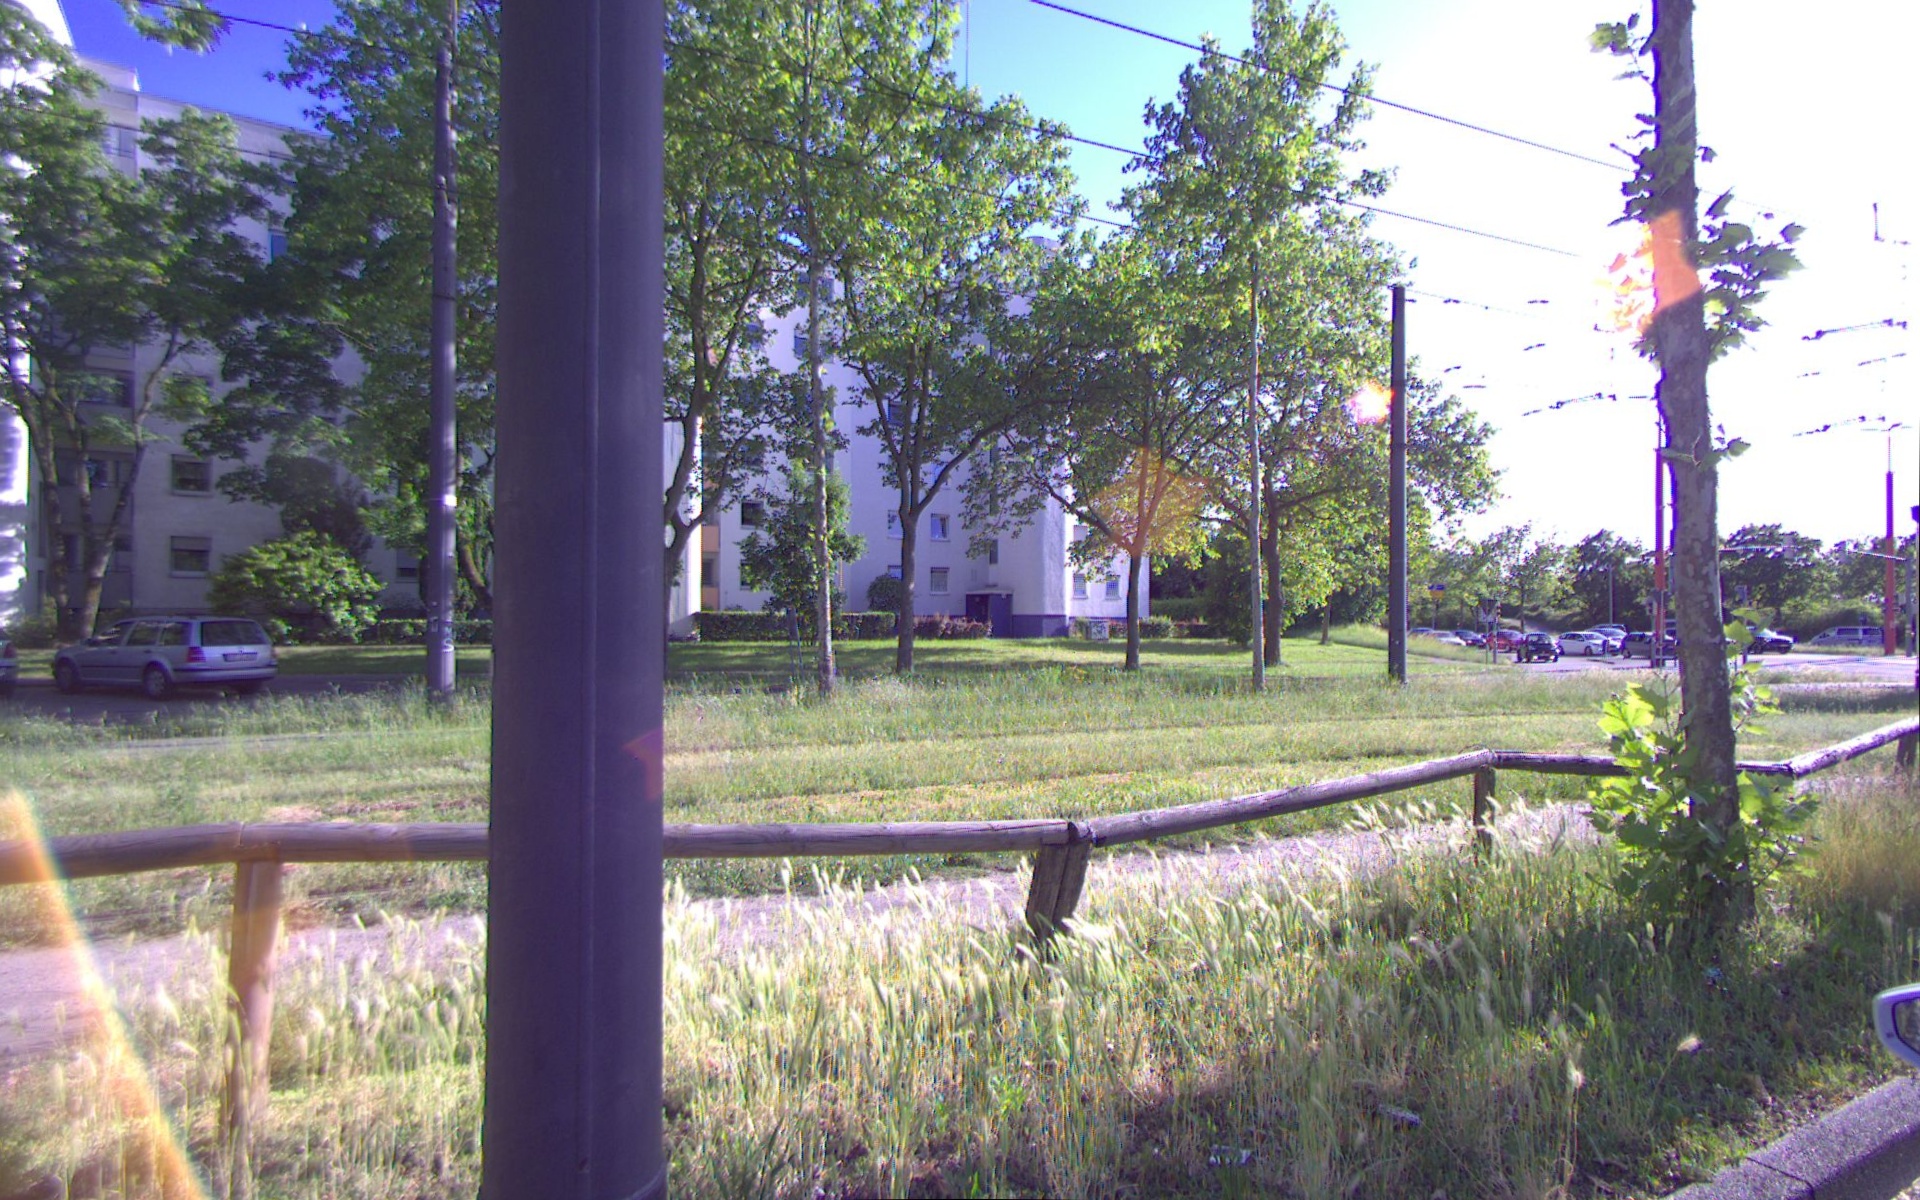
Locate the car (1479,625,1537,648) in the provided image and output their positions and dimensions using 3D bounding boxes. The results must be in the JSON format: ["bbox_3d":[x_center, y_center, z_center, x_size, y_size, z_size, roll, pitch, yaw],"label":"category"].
[{"bbox_3d":[38.459,2.537,70.591,1.699,1.533,3.998,1,-1,-4],"label":"car"}]

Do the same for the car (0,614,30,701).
[{"bbox_3d":[-17.988,0.952,17.141,3.547,1.439,1.576,1,0,18],"label":"car"}]

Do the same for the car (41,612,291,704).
[{"bbox_3d":[-14.594,1.005,18.494,3.898,1.462,1.710,1,0,18],"label":"car"}]

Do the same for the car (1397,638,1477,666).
[{"bbox_3d":[33.896,3.670,71.504,1.982,1.754,4.793,1,-1,-38],"label":"car"}]

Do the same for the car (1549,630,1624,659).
[{"bbox_3d":[38.868,2.753,62.464,1.833,1.633,4.185,1,-1,-4],"label":"car"}]

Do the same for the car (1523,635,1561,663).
[{"bbox_3d":[31.737,2.655,54.773,1.772,1.409,2.843,0,-1,31],"label":"car"}]

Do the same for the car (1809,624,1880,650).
[{"bbox_3d":[63.076,2.631,71.681,1.648,1.677,3.651,2,0,-4],"label":"car"}]

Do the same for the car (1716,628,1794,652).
[{"bbox_3d":[48.788,2.427,61.742,1.664,1.347,4.001,1,-1,2],"label":"car"}]

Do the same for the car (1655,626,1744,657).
[{"bbox_3d":[42.485,2.341,57.804,1.962,1.666,3.997,1,-1,-5],"label":"car"}]
